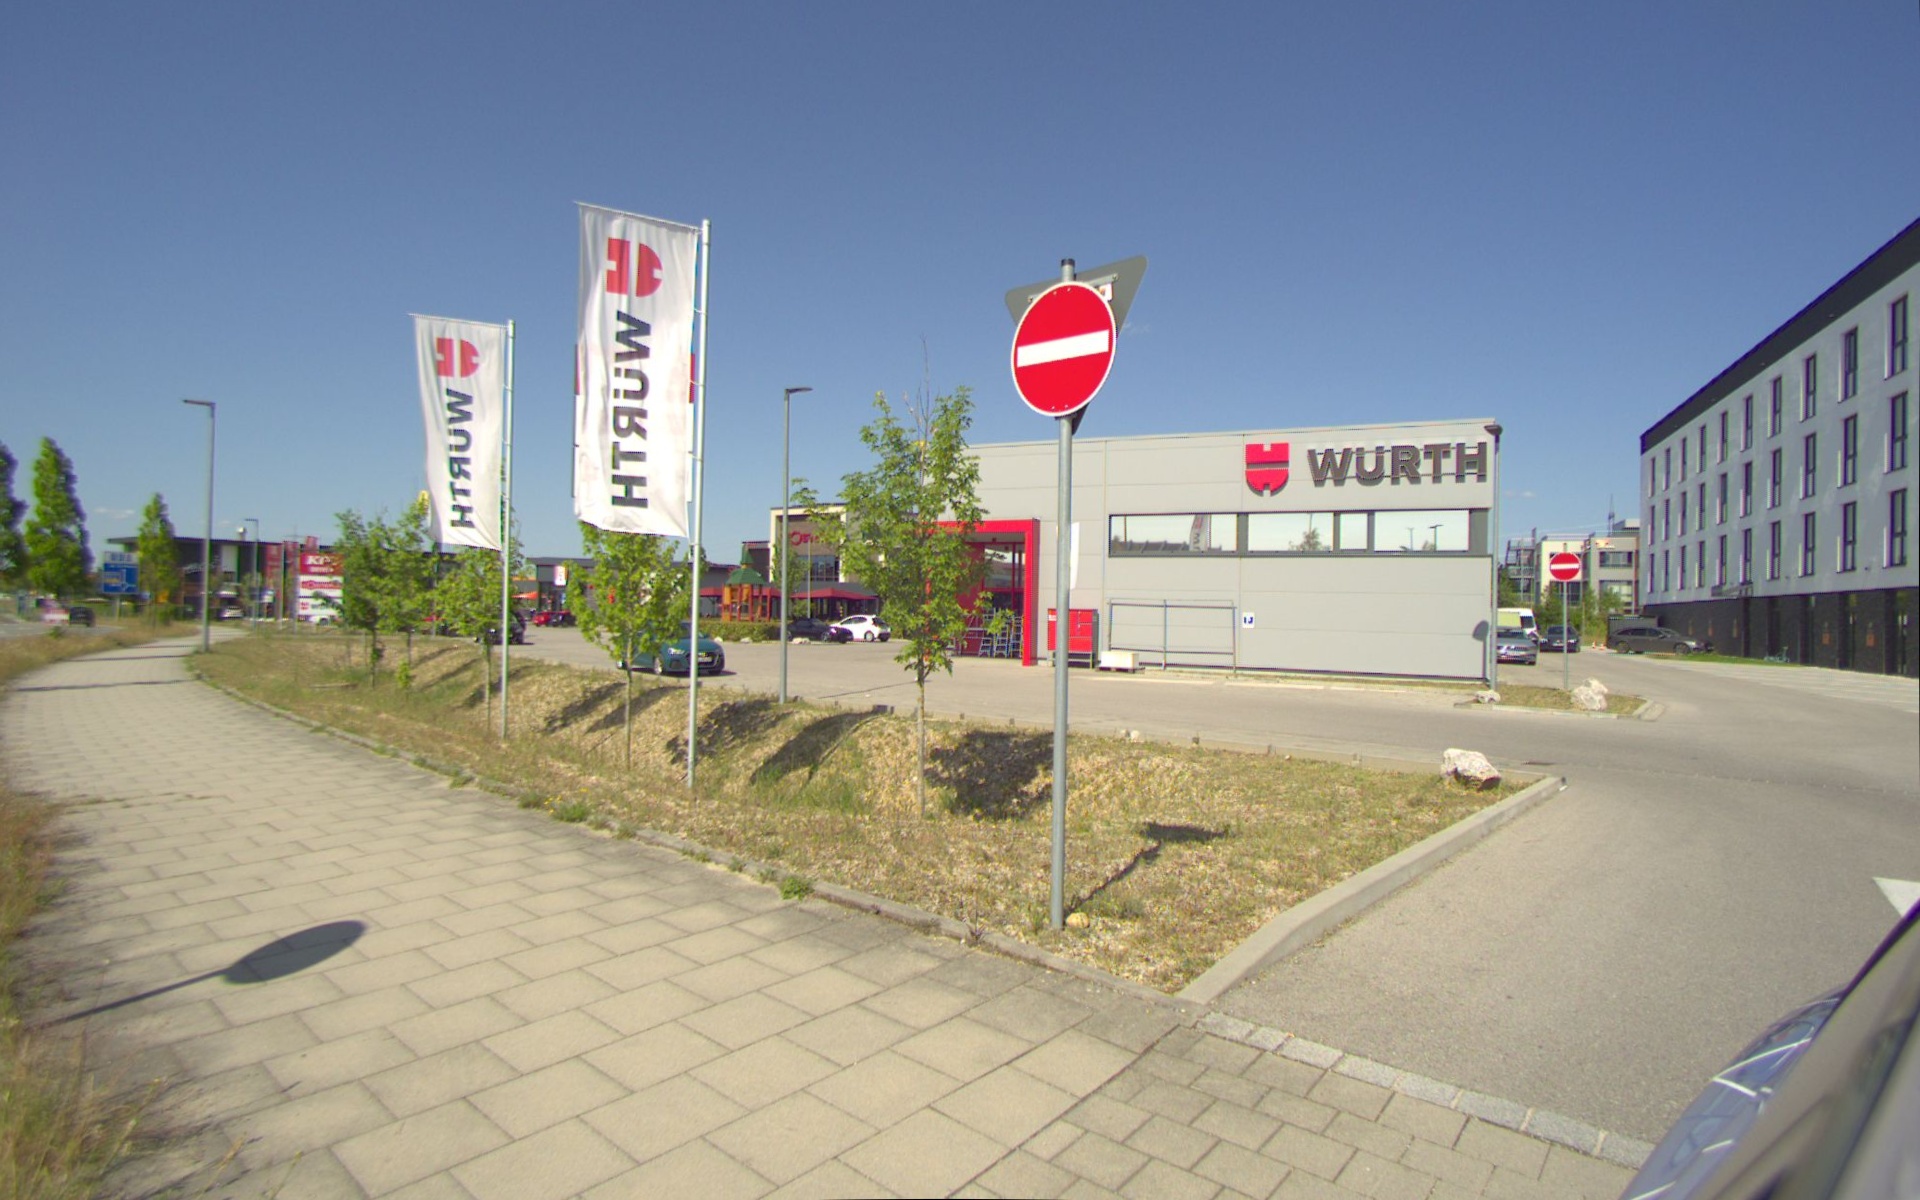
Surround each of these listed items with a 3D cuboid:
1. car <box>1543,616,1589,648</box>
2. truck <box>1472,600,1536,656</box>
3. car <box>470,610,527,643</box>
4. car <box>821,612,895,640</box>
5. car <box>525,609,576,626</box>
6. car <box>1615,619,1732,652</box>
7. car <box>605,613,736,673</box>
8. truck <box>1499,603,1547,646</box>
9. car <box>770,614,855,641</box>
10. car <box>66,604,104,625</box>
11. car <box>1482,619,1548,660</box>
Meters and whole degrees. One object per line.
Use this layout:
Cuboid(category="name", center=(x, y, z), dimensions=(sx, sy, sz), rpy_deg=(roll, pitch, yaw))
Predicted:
Cuboid(category="car", center=(32.948, 1.714, 54.978), dimensions=(1.709, 1.638, 3.945), rpy_deg=(0, 0, 38))
Cuboid(category="truck", center=(24.917, 1.248, 46.530), dimensions=(2.101, 2.407, 5.841), rpy_deg=(0, -1, 24))
Cuboid(category="car", center=(-21.633, 1.207, 47.336), dimensions=(1.841, 1.484, 4.366), rpy_deg=(1, -1, -32))
Cuboid(category="car", center=(-5.825, 1.468, 57.647), dimensions=(3.879, 1.493, 1.785), rpy_deg=(0, -1, 29))
Cuboid(category="car", center=(-37.900, 1.624, 93.797), dimensions=(1.866, 1.586, 4.044), rpy_deg=(0, -1, 35))
Cuboid(category="car", center=(36.330, 1.774, 51.662), dimensions=(1.841, 1.527, 4.530), rpy_deg=(1, -1, -29))
Cuboid(category="car", center=(-7.875, 1.105, 27.336), dimensions=(1.813, 1.468, 4.220), rpy_deg=(2, -1, -40))
Cuboid(category="truck", center=(33.390, 1.427, 60.136), dimensions=(1.978, 2.407, 5.841), rpy_deg=(0, -1, 24))
Cuboid(category="car", center=(-7.756, 1.423, 53.228), dimensions=(4.108, 1.355, 1.816), rpy_deg=(0, -1, 24))
Cuboid(category="car", center=(-67.162, 1.081, 77.730), dimensions=(1.879, 1.571, 4.386), rpy_deg=(1, 0, -37))
Cuboid(category="car", center=(22.145, 1.529, 40.513), dimensions=(1.858, 1.527, 3.969), rpy_deg=(0, -1, 22))
